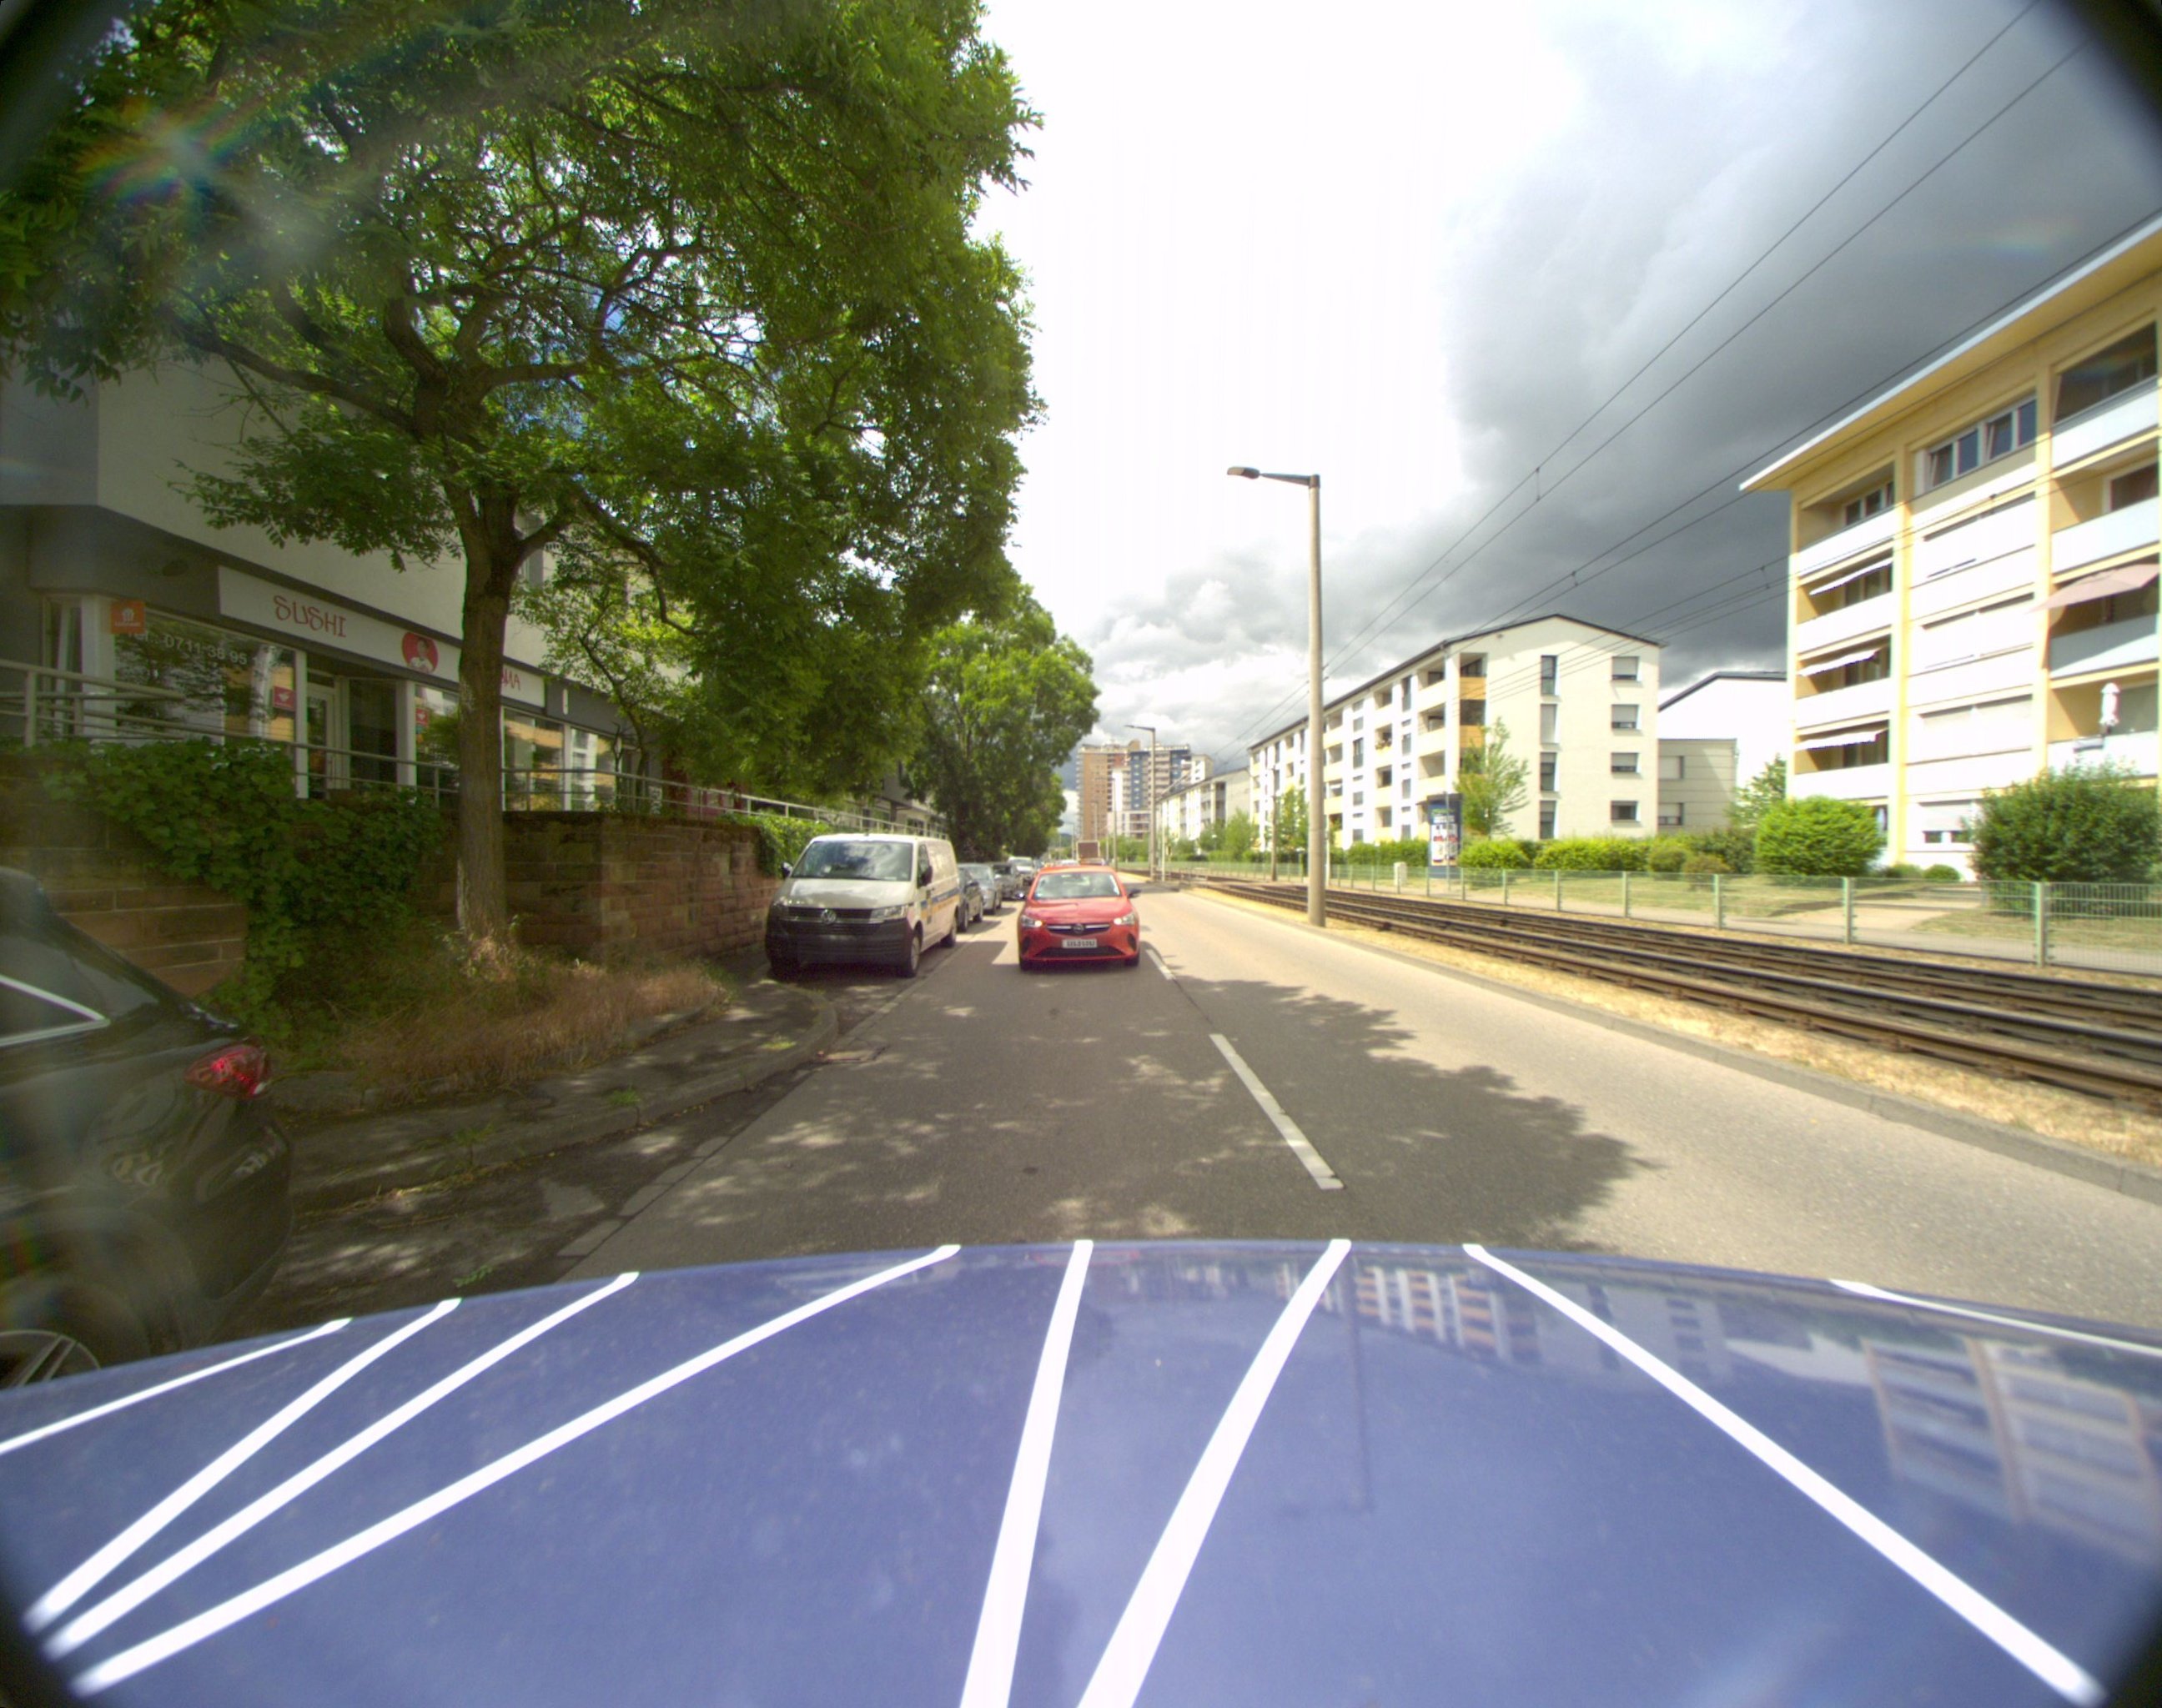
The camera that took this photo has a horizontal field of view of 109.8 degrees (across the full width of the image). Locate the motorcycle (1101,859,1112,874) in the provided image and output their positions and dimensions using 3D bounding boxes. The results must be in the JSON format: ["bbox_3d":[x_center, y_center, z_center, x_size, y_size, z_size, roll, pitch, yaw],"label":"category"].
[{"bbox_3d":[2.095,0.993,62.868,0.783,1.181,1.869,-1,0,-1],"label":"motorcycle"}]

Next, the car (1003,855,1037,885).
[{"bbox_3d":[-3.548,0.895,44.963,1.819,1.643,4.146,-1,0,-2],"label":"car"}]

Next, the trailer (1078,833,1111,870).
[{"bbox_3d":[1.254,-0.278,79.984,2.875,3.428,14.613,-2,0,-1],"label":"trailer"}]

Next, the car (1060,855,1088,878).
[{"bbox_3d":[-0.553,0.863,55.606,1.927,1.543,3.999,-2,0,-2],"label":"car"}]

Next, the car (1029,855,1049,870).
[{"bbox_3d":[-4.310,0.877,78.971,1.784,1.420,4.147,-1,0,0],"label":"car"}]

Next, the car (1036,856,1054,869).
[{"bbox_3d":[-4.098,0.917,85.962,1.784,1.420,4.147,-1,0,0],"label":"car"}]

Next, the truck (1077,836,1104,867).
[{"bbox_3d":[1.091,-0.286,87.886,2.852,3.428,4.414,-2,0,-2],"label":"truck"}]

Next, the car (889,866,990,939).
[{"bbox_3d":[-3.120,1.036,17.476,1.578,1.420,3.734,-1,0,0],"label":"car"}]

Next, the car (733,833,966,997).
[{"bbox_3d":[-3.165,0.732,11.667,1.978,1.958,5.013,-1,0,0],"label":"car"}]

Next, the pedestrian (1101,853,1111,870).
[{"bbox_3d":[2.066,0.610,62.865,0.737,1.408,0.927,-2,1,-1],"label":"pedestrian"}]

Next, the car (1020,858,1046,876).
[{"bbox_3d":[-3.881,1.032,61.715,1.784,1.420,4.147,-1,0,0],"label":"car"}]

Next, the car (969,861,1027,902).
[{"bbox_3d":[-3.153,1.022,29.595,1.784,1.420,4.147,-1,0,0],"label":"car"}]

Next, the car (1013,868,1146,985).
[{"bbox_3d":[0.027,0.996,11.987,1.723,1.434,4.000,-1,0,1],"label":"car"}]

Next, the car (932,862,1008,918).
[{"bbox_3d":[-3.207,1.008,22.691,1.785,1.420,4.144,2,0,-2],"label":"car"}]
